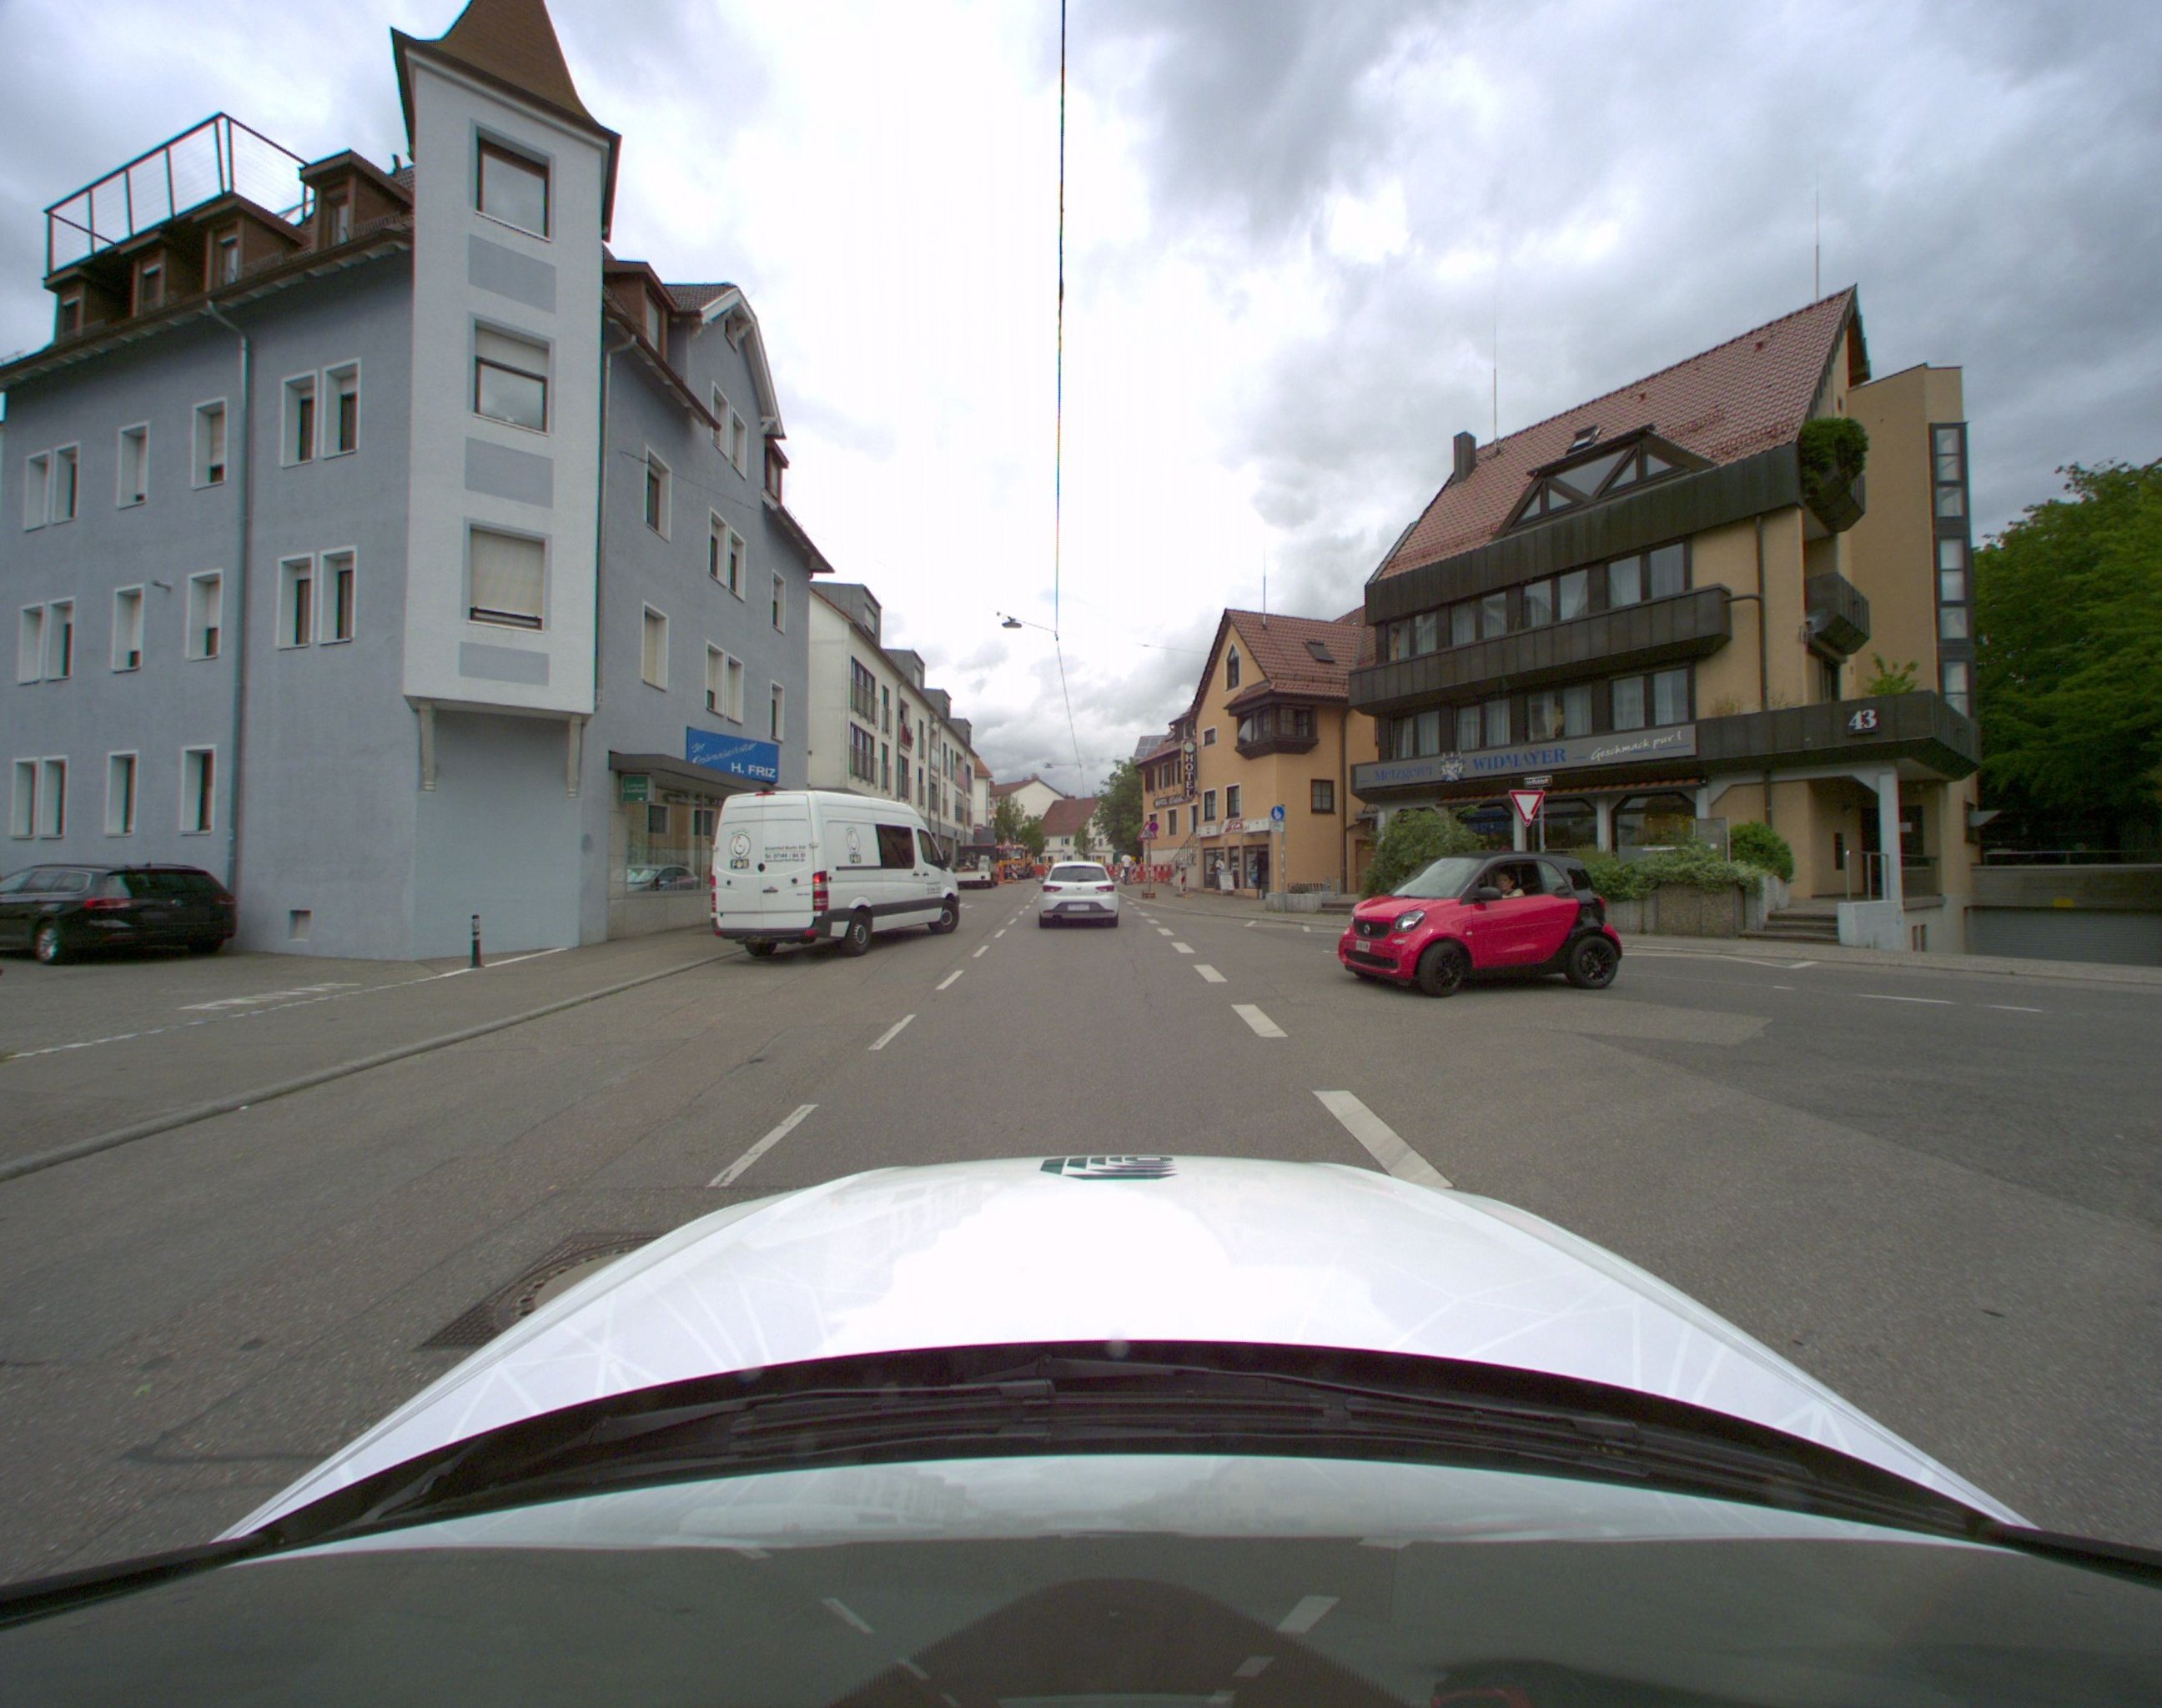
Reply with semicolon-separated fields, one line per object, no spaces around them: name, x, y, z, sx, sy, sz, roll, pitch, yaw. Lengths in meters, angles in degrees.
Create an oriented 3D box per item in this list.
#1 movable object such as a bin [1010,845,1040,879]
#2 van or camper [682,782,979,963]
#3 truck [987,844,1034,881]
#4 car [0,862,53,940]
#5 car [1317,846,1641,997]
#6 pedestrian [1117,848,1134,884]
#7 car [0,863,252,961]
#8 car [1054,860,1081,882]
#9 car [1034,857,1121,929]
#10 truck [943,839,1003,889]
movable object such as a bin;-4.741;0.734;69.557;1.830;2.764;4.510;-1;-2;4
van or camper;-4.110;0.286;15.010;2.302;2.607;6.231;-1;0;14
truck;-5.384;0.644;63.554;2.720;2.725;6.853;-1;0;3
car;-21.755;0.901;15.172;4.363;1.393;2.011;-1;0;21
car;4.563;0.699;9.594;2.930;1.520;1.814;-1;0;-10
pedestrian;2.413;0.638;44.587;0.796;1.950;0.835;-1;0;-3
car;-15.477;0.865;12.924;3.953;1.352;1.731;-1;0;20
car;-0.936;1.157;57.695;1.805;1.481;3.870;-1;0;0
car;-0.085;0.819;18.950;1.806;1.481;3.869;-1;0;-1
truck;-5.697;0.500;43.737;2.406;2.466;6.305;-1;0;-1
